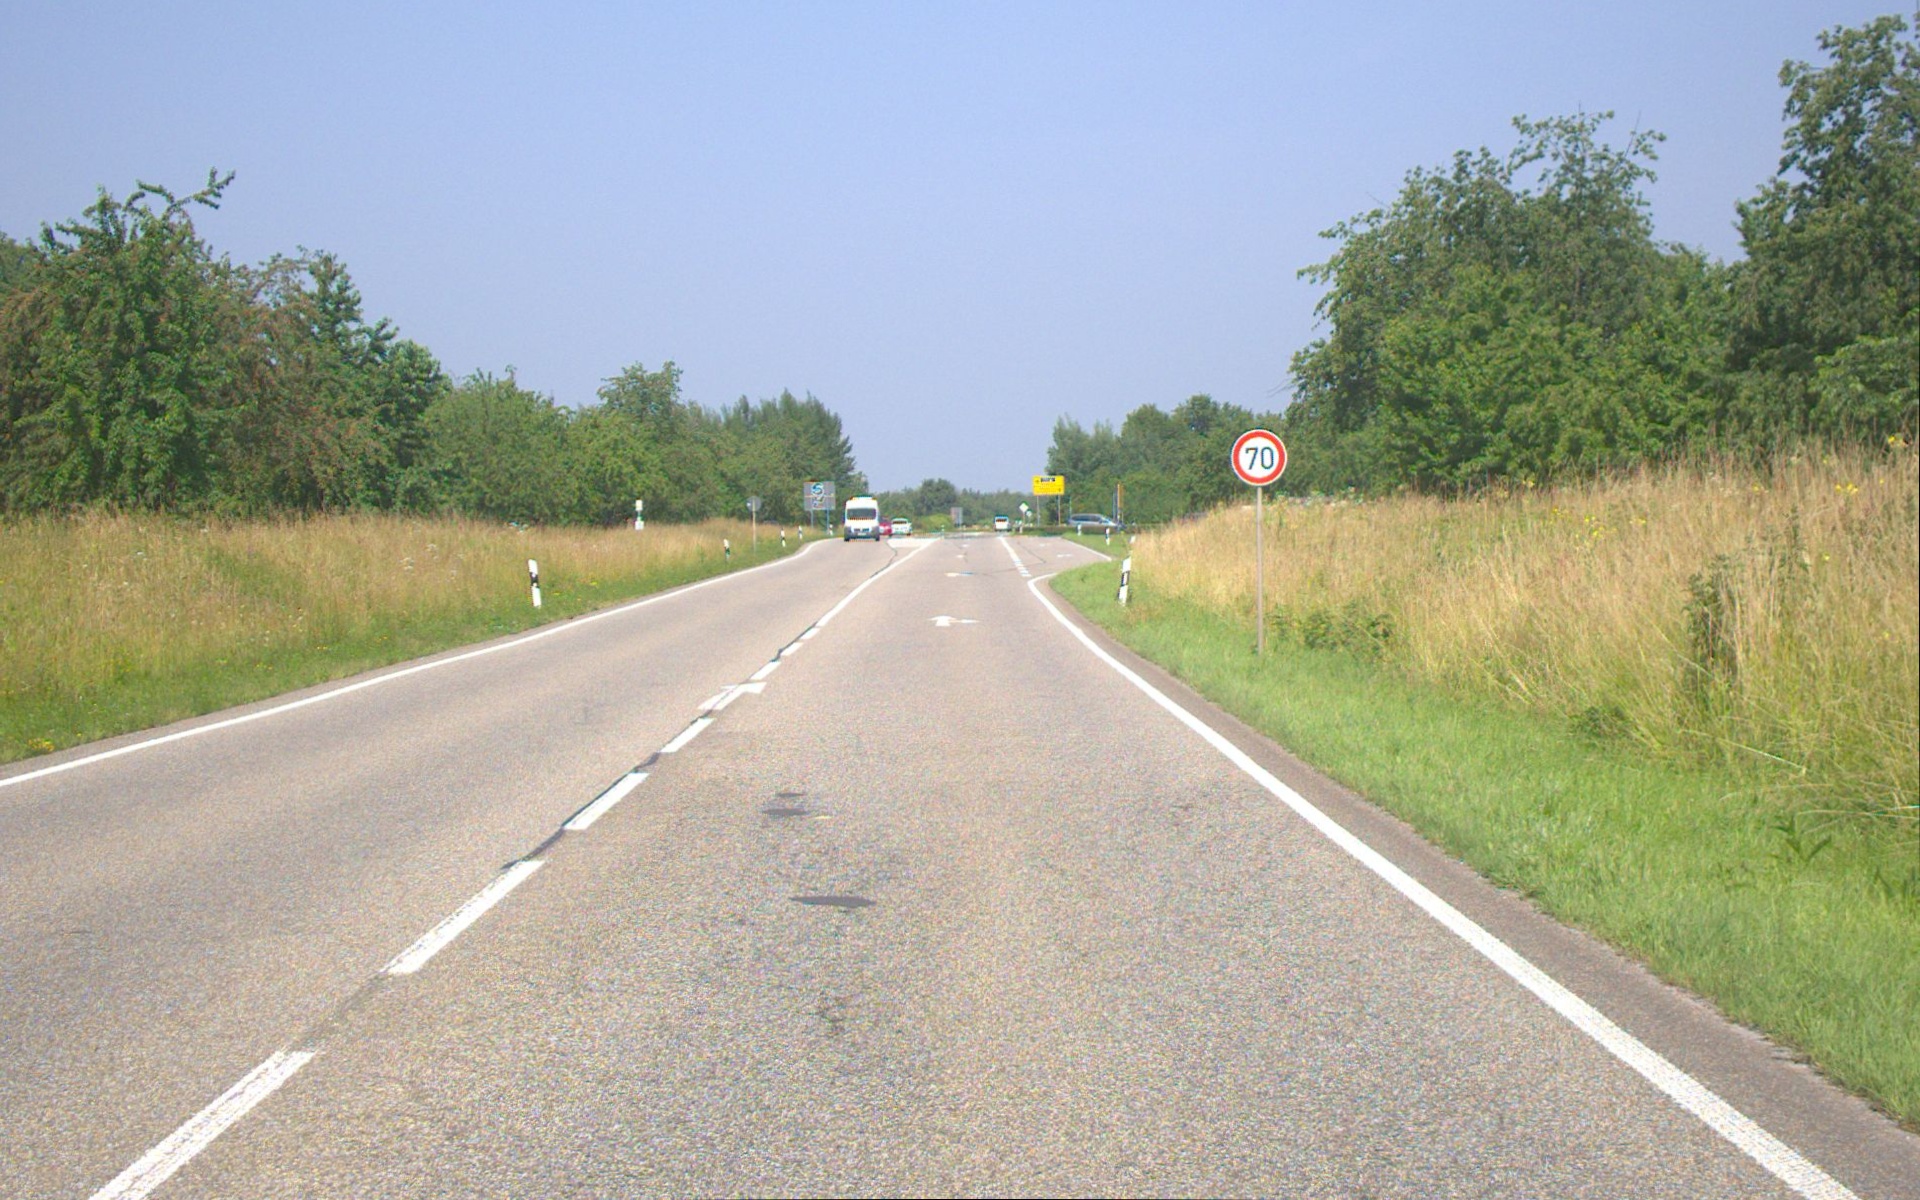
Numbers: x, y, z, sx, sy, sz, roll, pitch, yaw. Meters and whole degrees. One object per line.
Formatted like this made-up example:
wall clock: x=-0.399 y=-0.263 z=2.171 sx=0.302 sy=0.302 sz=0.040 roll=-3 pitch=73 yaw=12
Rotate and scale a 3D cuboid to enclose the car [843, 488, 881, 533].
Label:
car: x=-5.813 y=-5.302 z=204.215 sx=2.161 sy=2.659 sz=6.144 roll=0 pitch=1 yaw=-1
